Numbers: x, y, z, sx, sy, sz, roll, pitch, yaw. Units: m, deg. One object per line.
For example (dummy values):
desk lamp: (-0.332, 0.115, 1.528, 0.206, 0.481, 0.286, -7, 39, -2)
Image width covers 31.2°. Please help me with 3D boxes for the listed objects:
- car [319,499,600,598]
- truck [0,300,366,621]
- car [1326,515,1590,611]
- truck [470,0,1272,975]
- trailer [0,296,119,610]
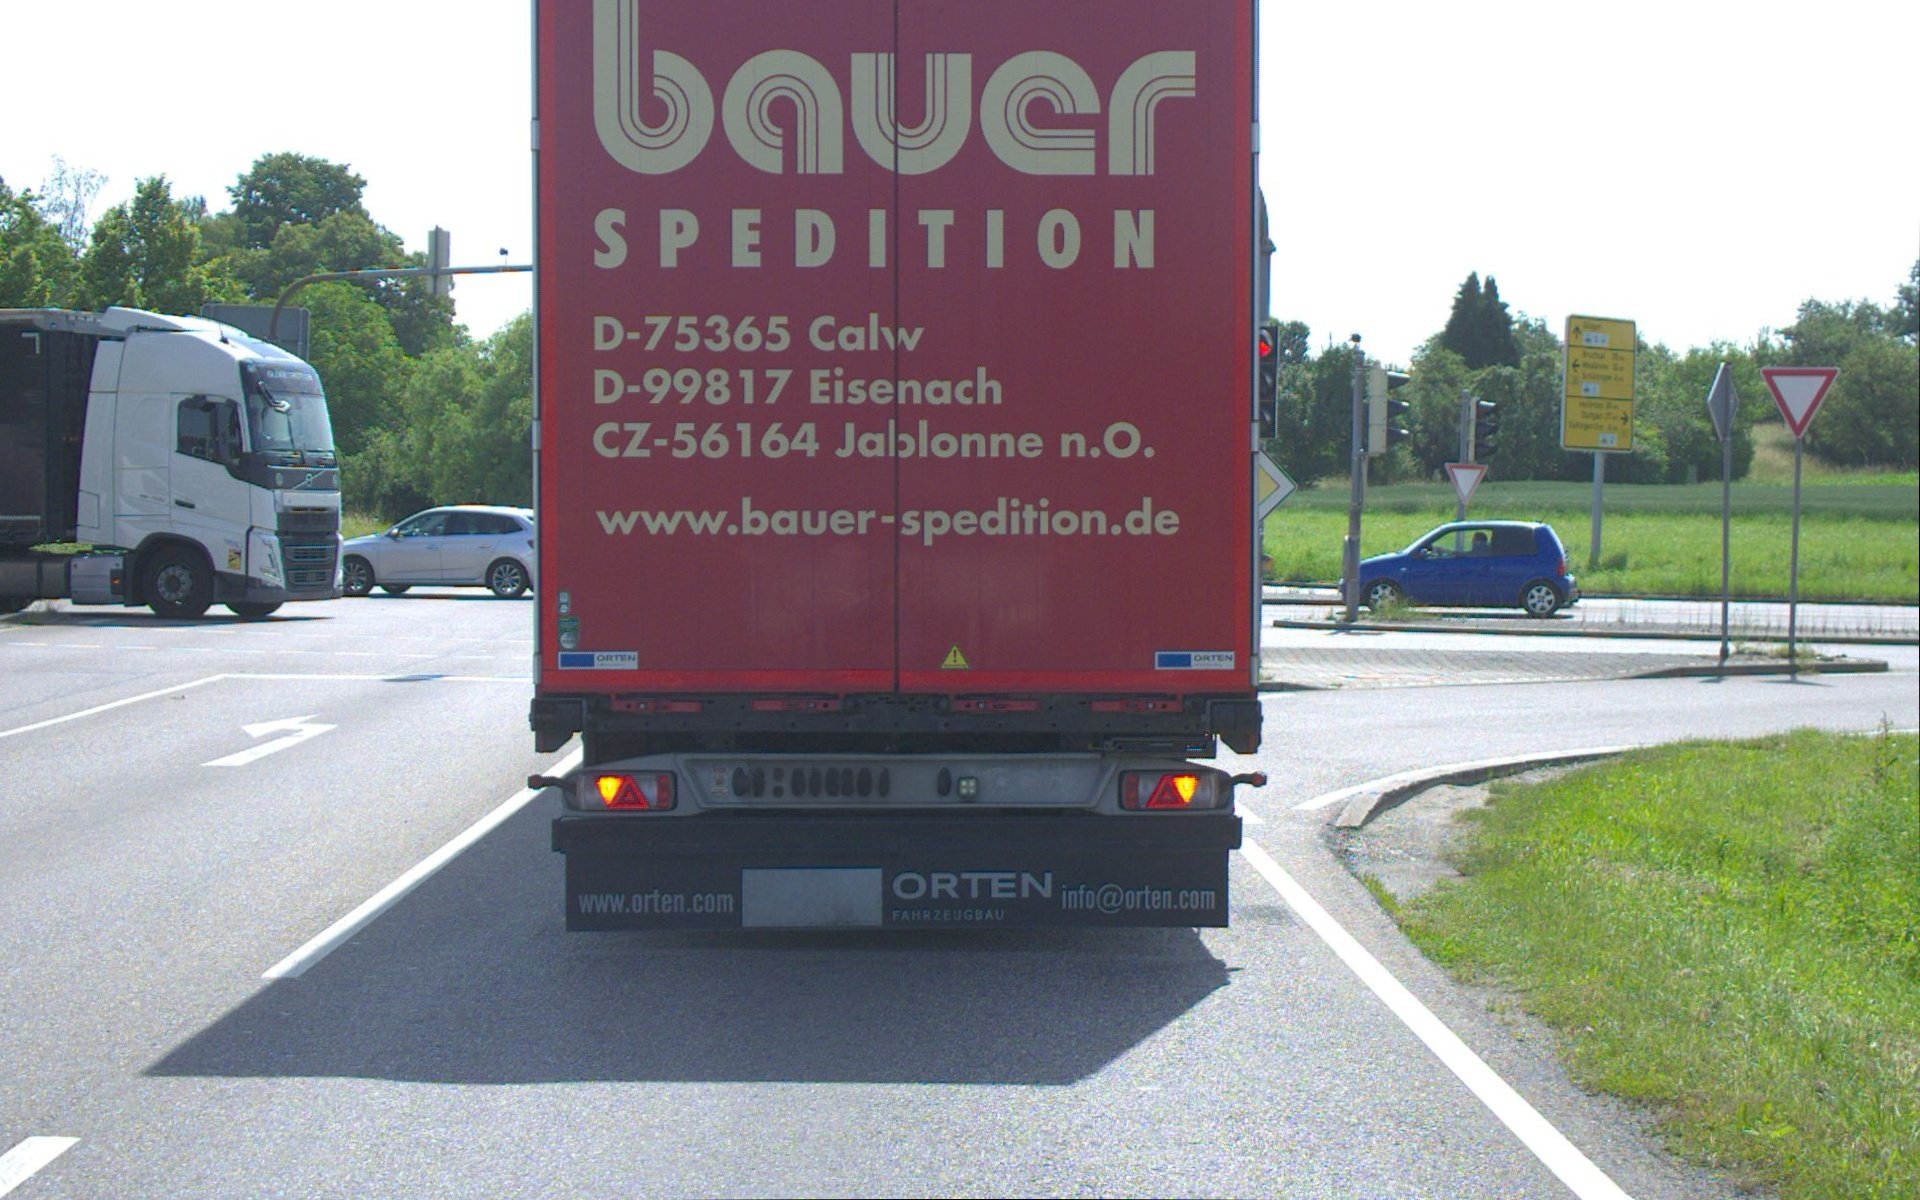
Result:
car: (-8.076, -0.820, 55.605, 4.101, 1.542, 1.872, 0, -1, 12)
truck: (-11.142, -1.873, 45.479, 5.830, 4.047, 2.796, 1, 2, 16)
car: (7.504, -0.577, 51.763, 3.849, 1.352, 1.676, 1, 1, 10)
truck: (-0.372, -0.891, 20.147, 2.734, 3.911, 16.627, 1, 2, 0)
trailer: (-18.404, -2.105, 47.908, 13.697, 4.047, 2.796, 2, 2, 19)
